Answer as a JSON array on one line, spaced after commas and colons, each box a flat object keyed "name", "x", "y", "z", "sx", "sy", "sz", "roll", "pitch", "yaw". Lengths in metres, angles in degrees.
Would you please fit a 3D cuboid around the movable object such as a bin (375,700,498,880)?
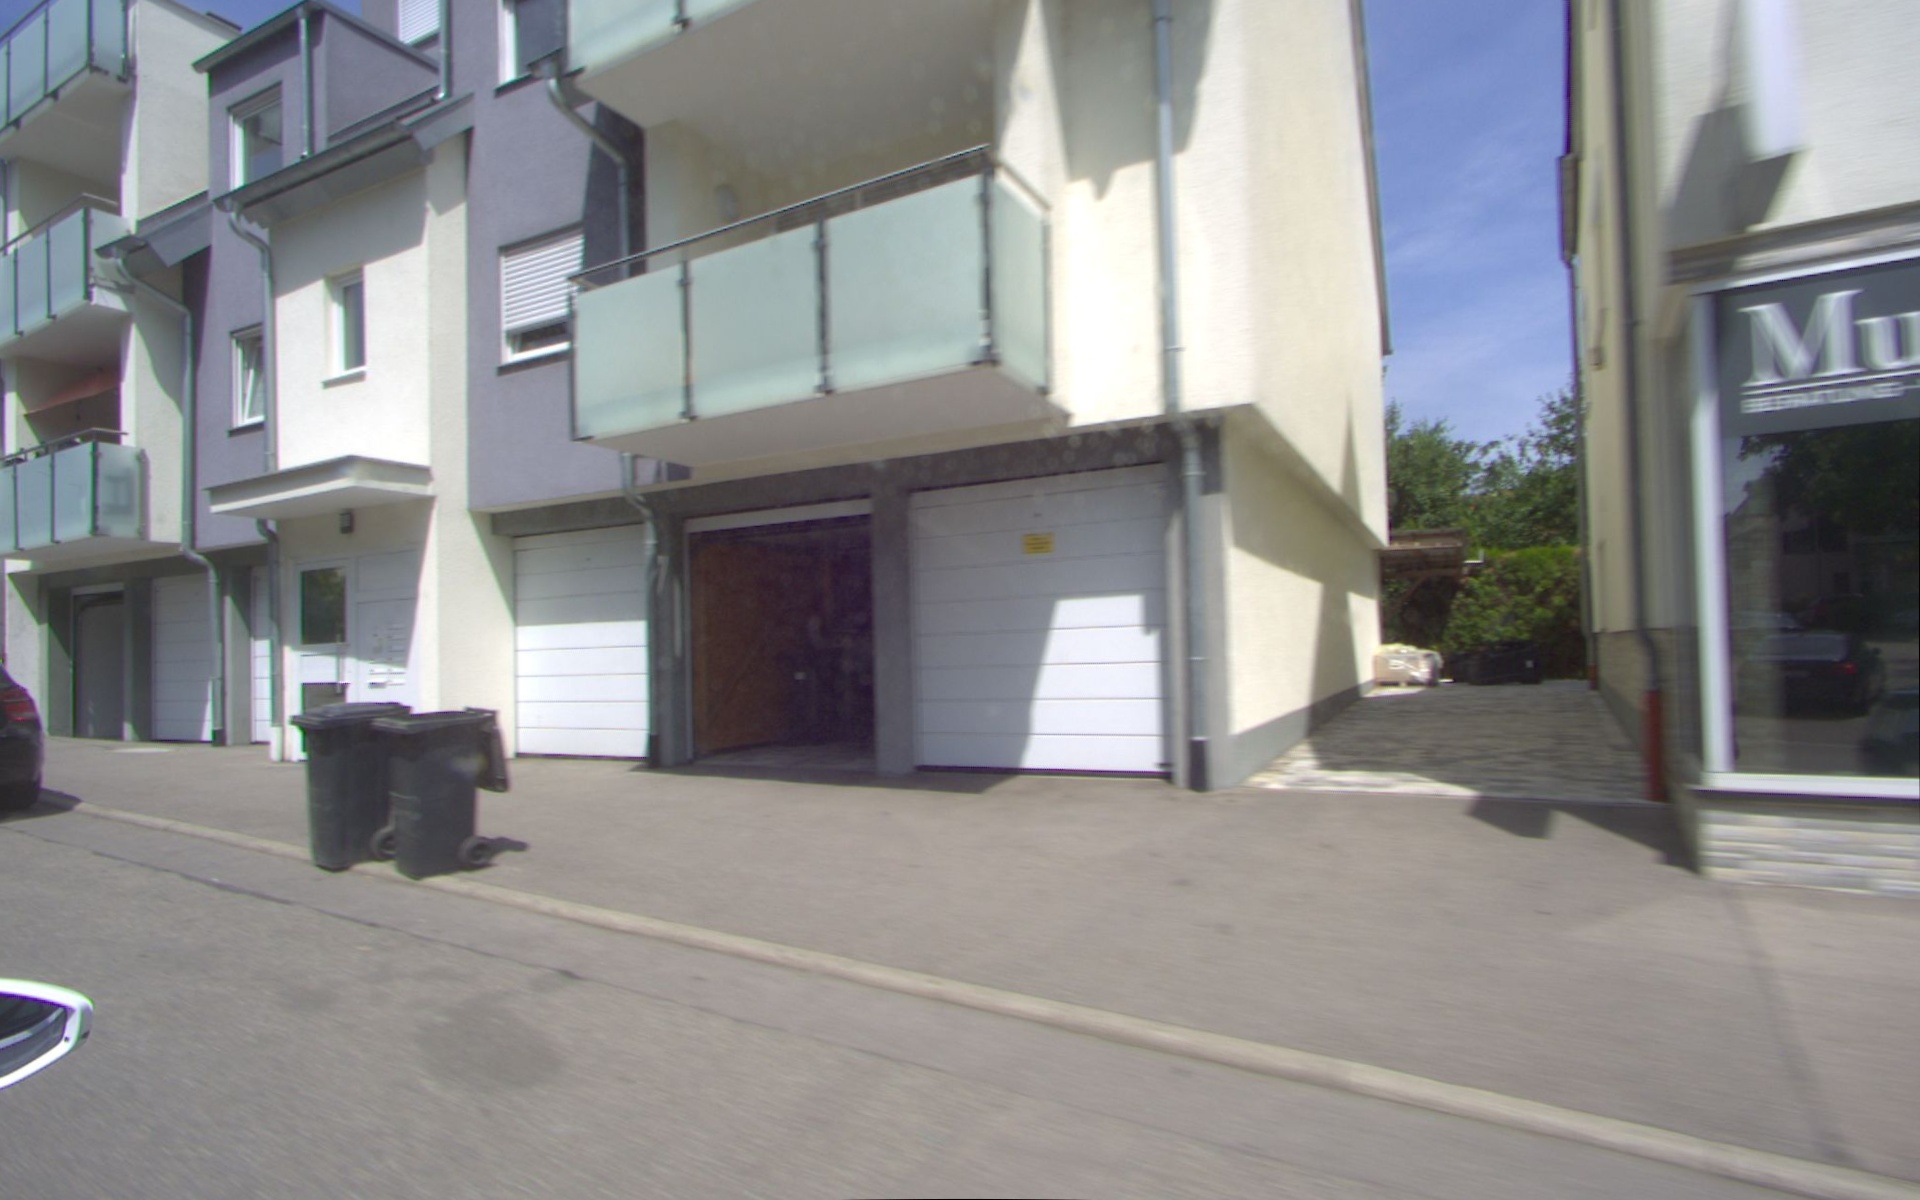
[{"name": "movable object such as a bin", "x": -3.022, "y": 1.070, "z": 5.787, "sx": 0.484, "sy": 0.937, "sz": 0.430, "roll": 0, "pitch": 0, "yaw": 30}]

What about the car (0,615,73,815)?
[{"name": "car", "x": -8.973, "y": 0.868, "z": 7.896, "sx": 4.228, "sy": 1.443, "sz": 1.794, "roll": -1, "pitch": -1, "yaw": 31}]

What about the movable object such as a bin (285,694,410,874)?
[{"name": "movable object such as a bin", "x": -3.669, "y": 1.077, "z": 6.003, "sx": 0.510, "sy": 0.969, "sz": 0.430, "roll": 0, "pitch": 1, "yaw": 30}]
